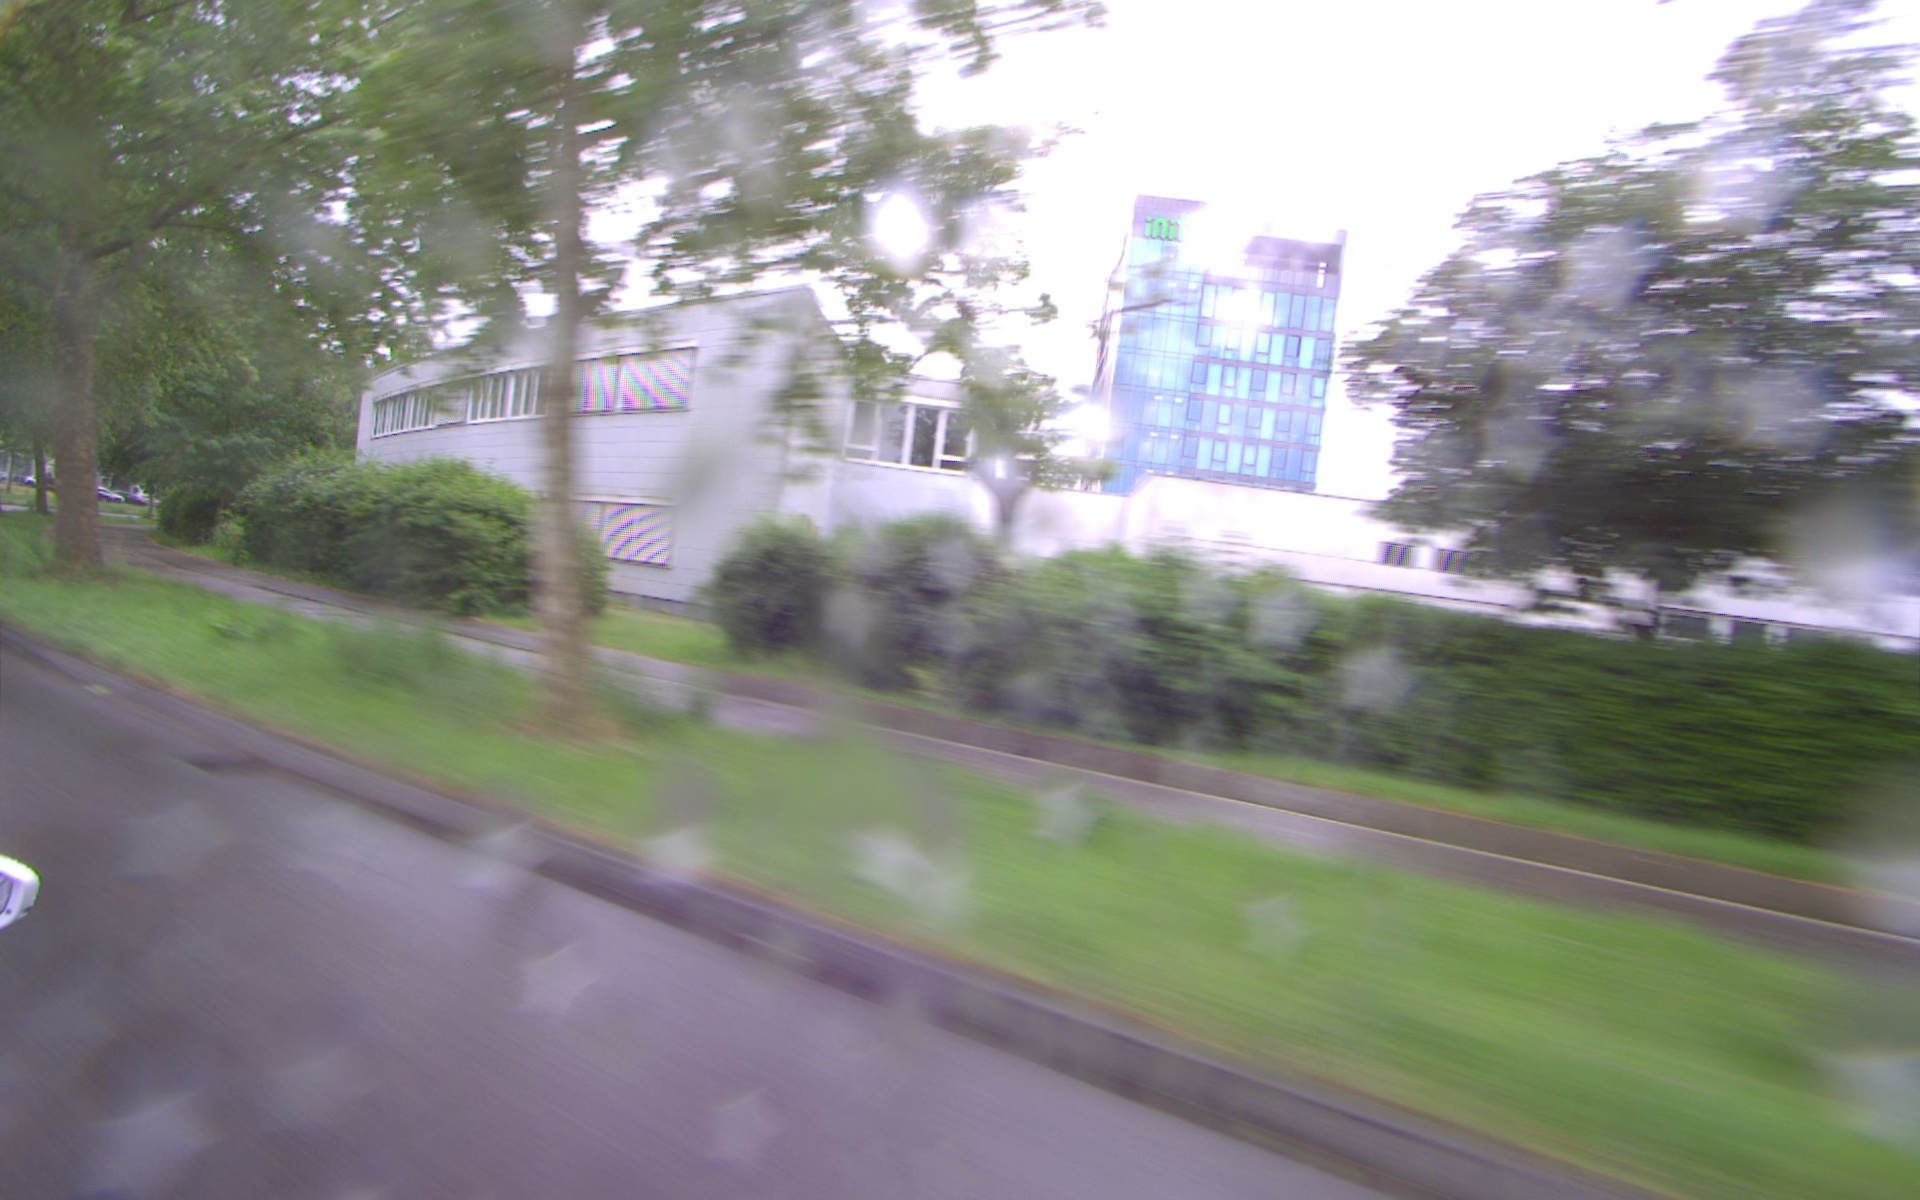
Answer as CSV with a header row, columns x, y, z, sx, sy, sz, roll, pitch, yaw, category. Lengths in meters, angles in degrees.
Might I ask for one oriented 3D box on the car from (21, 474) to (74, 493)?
x,y,z,sx,sy,sz,roll,pitch,yaw,category
-112.585,-14.355,124.147,4.377,1.491,1.910,9,0,-22,car
